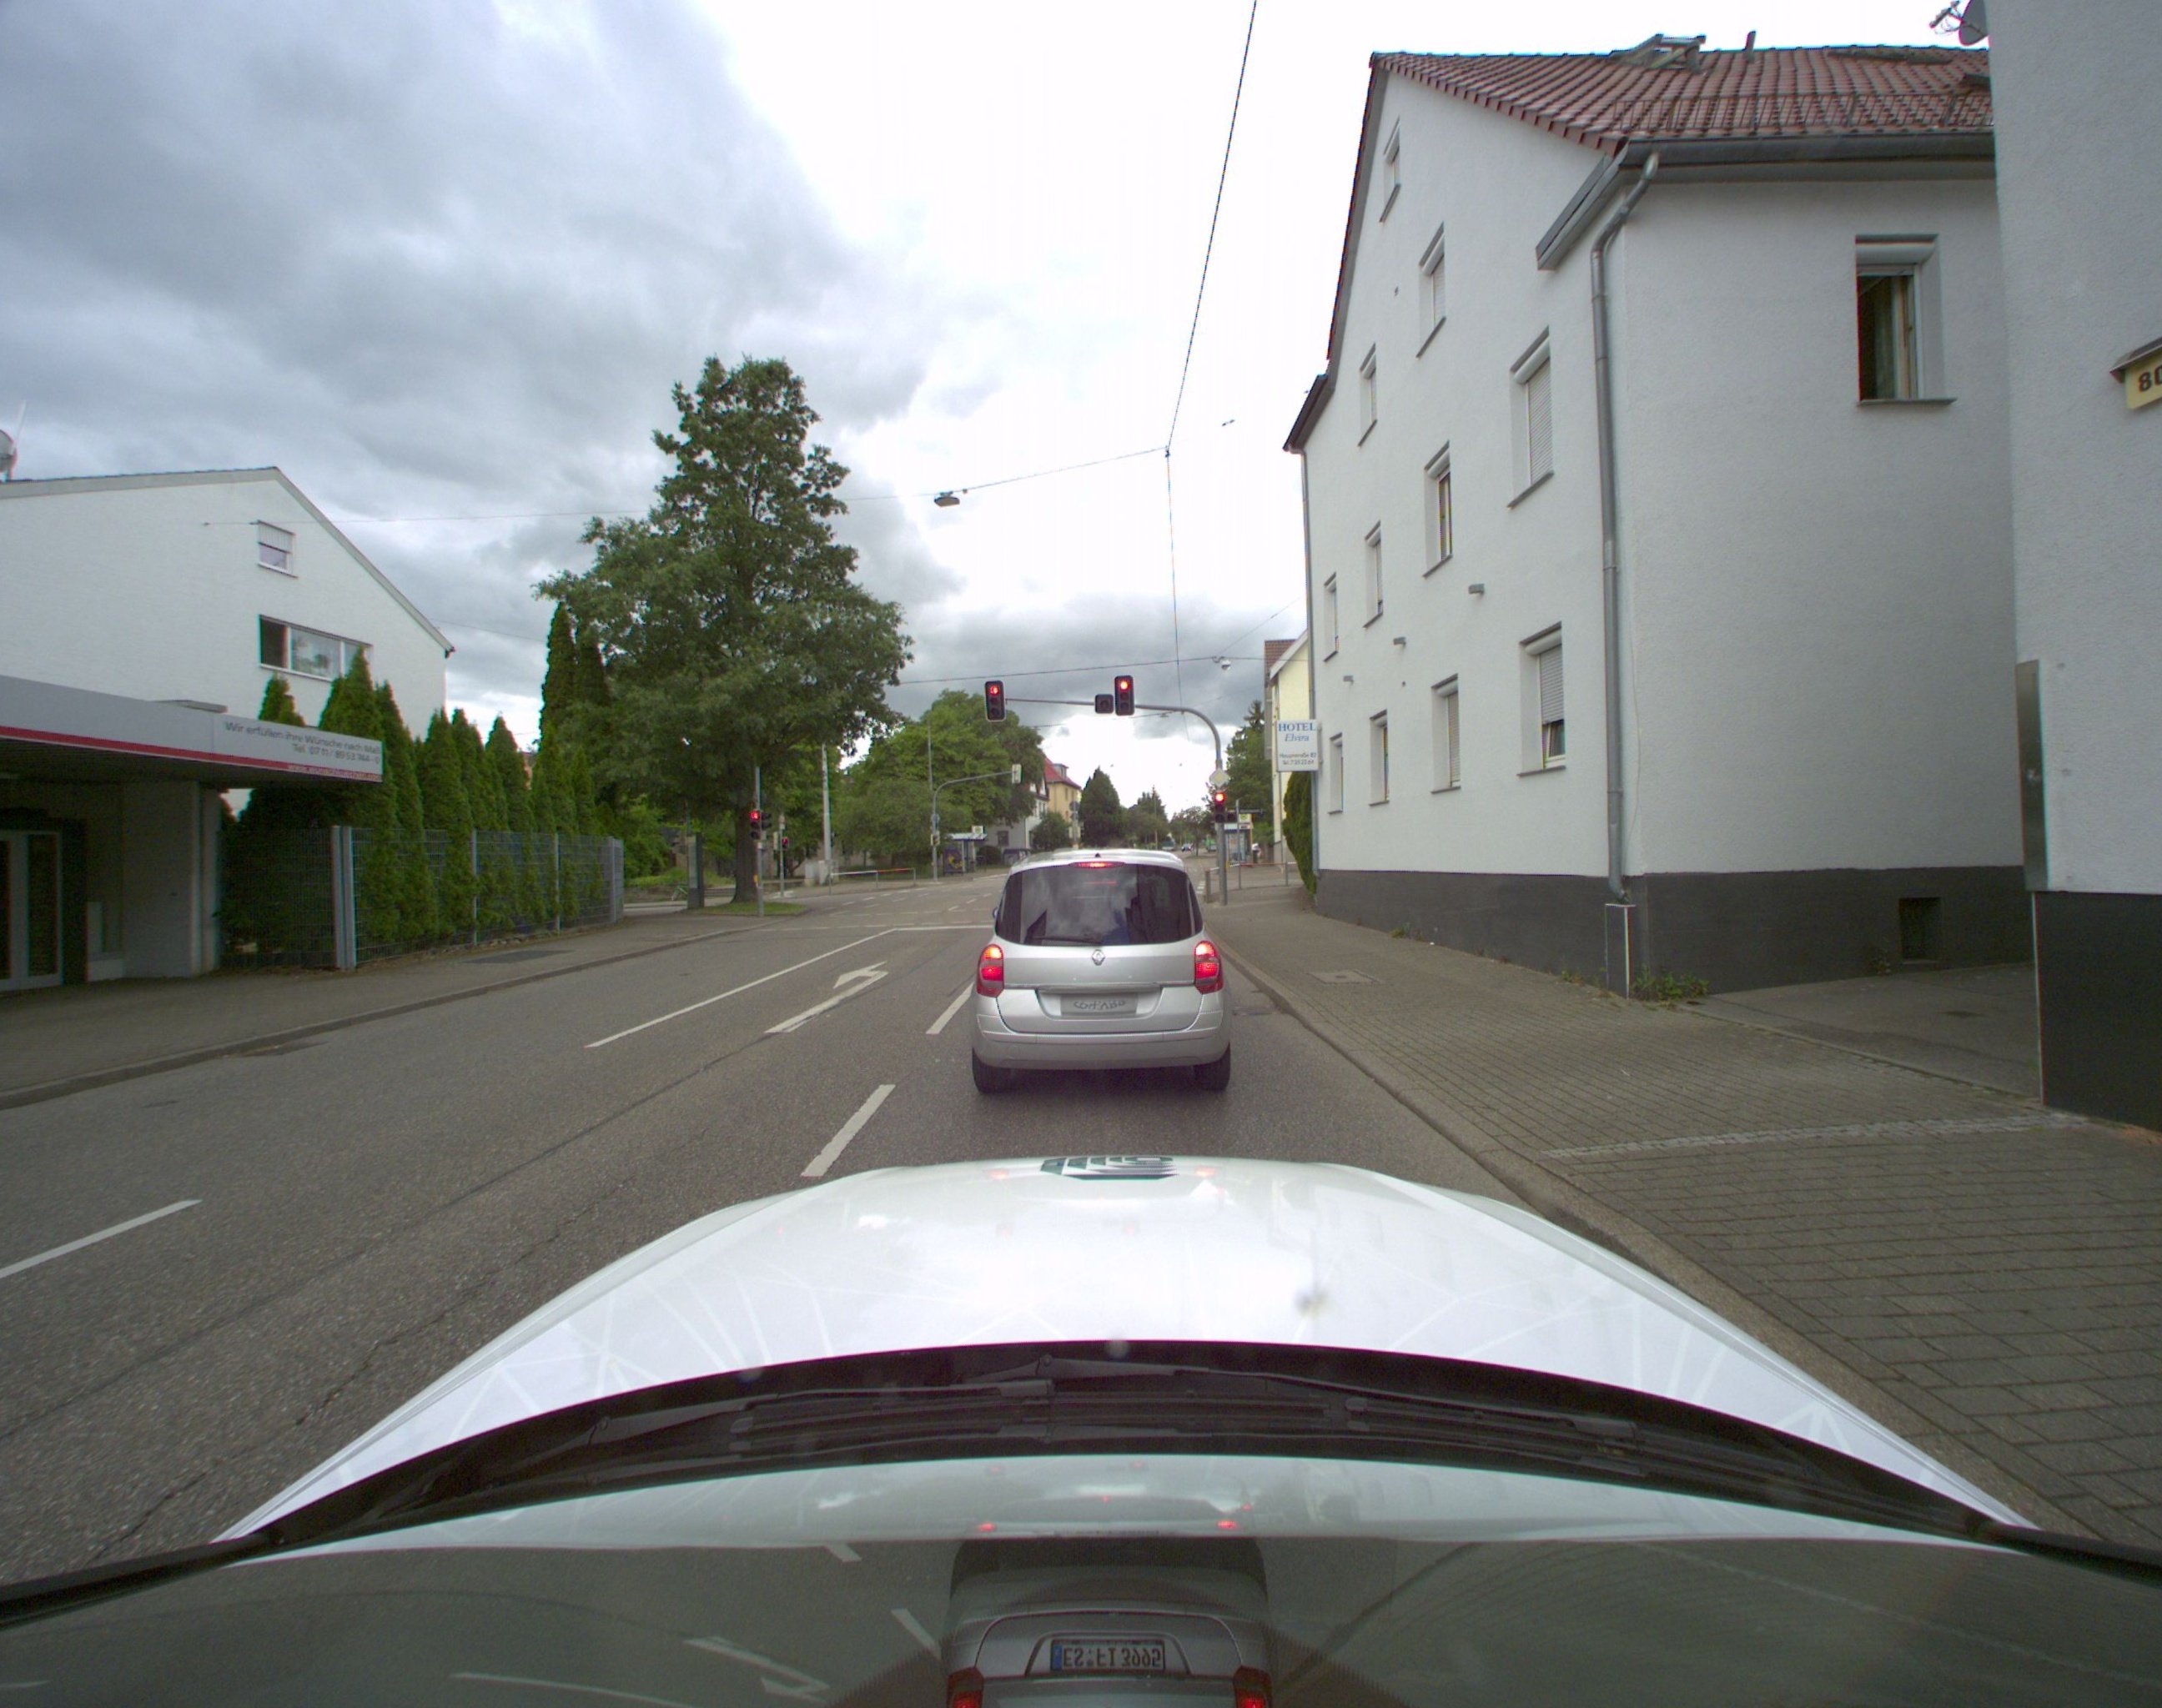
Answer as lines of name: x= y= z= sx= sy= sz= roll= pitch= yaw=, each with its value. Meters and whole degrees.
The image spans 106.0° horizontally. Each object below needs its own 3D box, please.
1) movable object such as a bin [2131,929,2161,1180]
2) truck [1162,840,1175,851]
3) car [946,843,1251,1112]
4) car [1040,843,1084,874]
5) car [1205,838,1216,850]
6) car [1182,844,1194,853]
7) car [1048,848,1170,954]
movable object such as a bin: x=4.329 y=0.747 z=2.878 sx=0.538 sy=0.941 sz=0.487 roll=-4 pitch=-1 yaw=2
truck: x=17.896 y=-1.733 z=166.371 sx=2.088 sy=2.013 sz=5.766 roll=-1 pitch=0 yaw=11
car: x=0.151 y=0.721 z=6.717 sx=1.748 sy=1.530 sz=4.001 roll=-1 pitch=0 yaw=1
car: x=-1.221 y=0.264 z=54.392 sx=1.913 sy=1.773 sz=4.013 roll=-6 pitch=-1 yaw=12
car: x=28.674 y=-2.203 z=180.127 sx=2.044 sy=2.512 sz=5.616 roll=-1 pitch=0 yaw=14
car: x=20.019 y=-1.021 z=152.616 sx=1.844 sy=1.748 sz=4.015 roll=-1 pitch=0 yaw=13
car: x=0.458 y=0.691 z=13.752 sx=1.748 sy=1.530 sz=3.798 roll=-1 pitch=0 yaw=1
